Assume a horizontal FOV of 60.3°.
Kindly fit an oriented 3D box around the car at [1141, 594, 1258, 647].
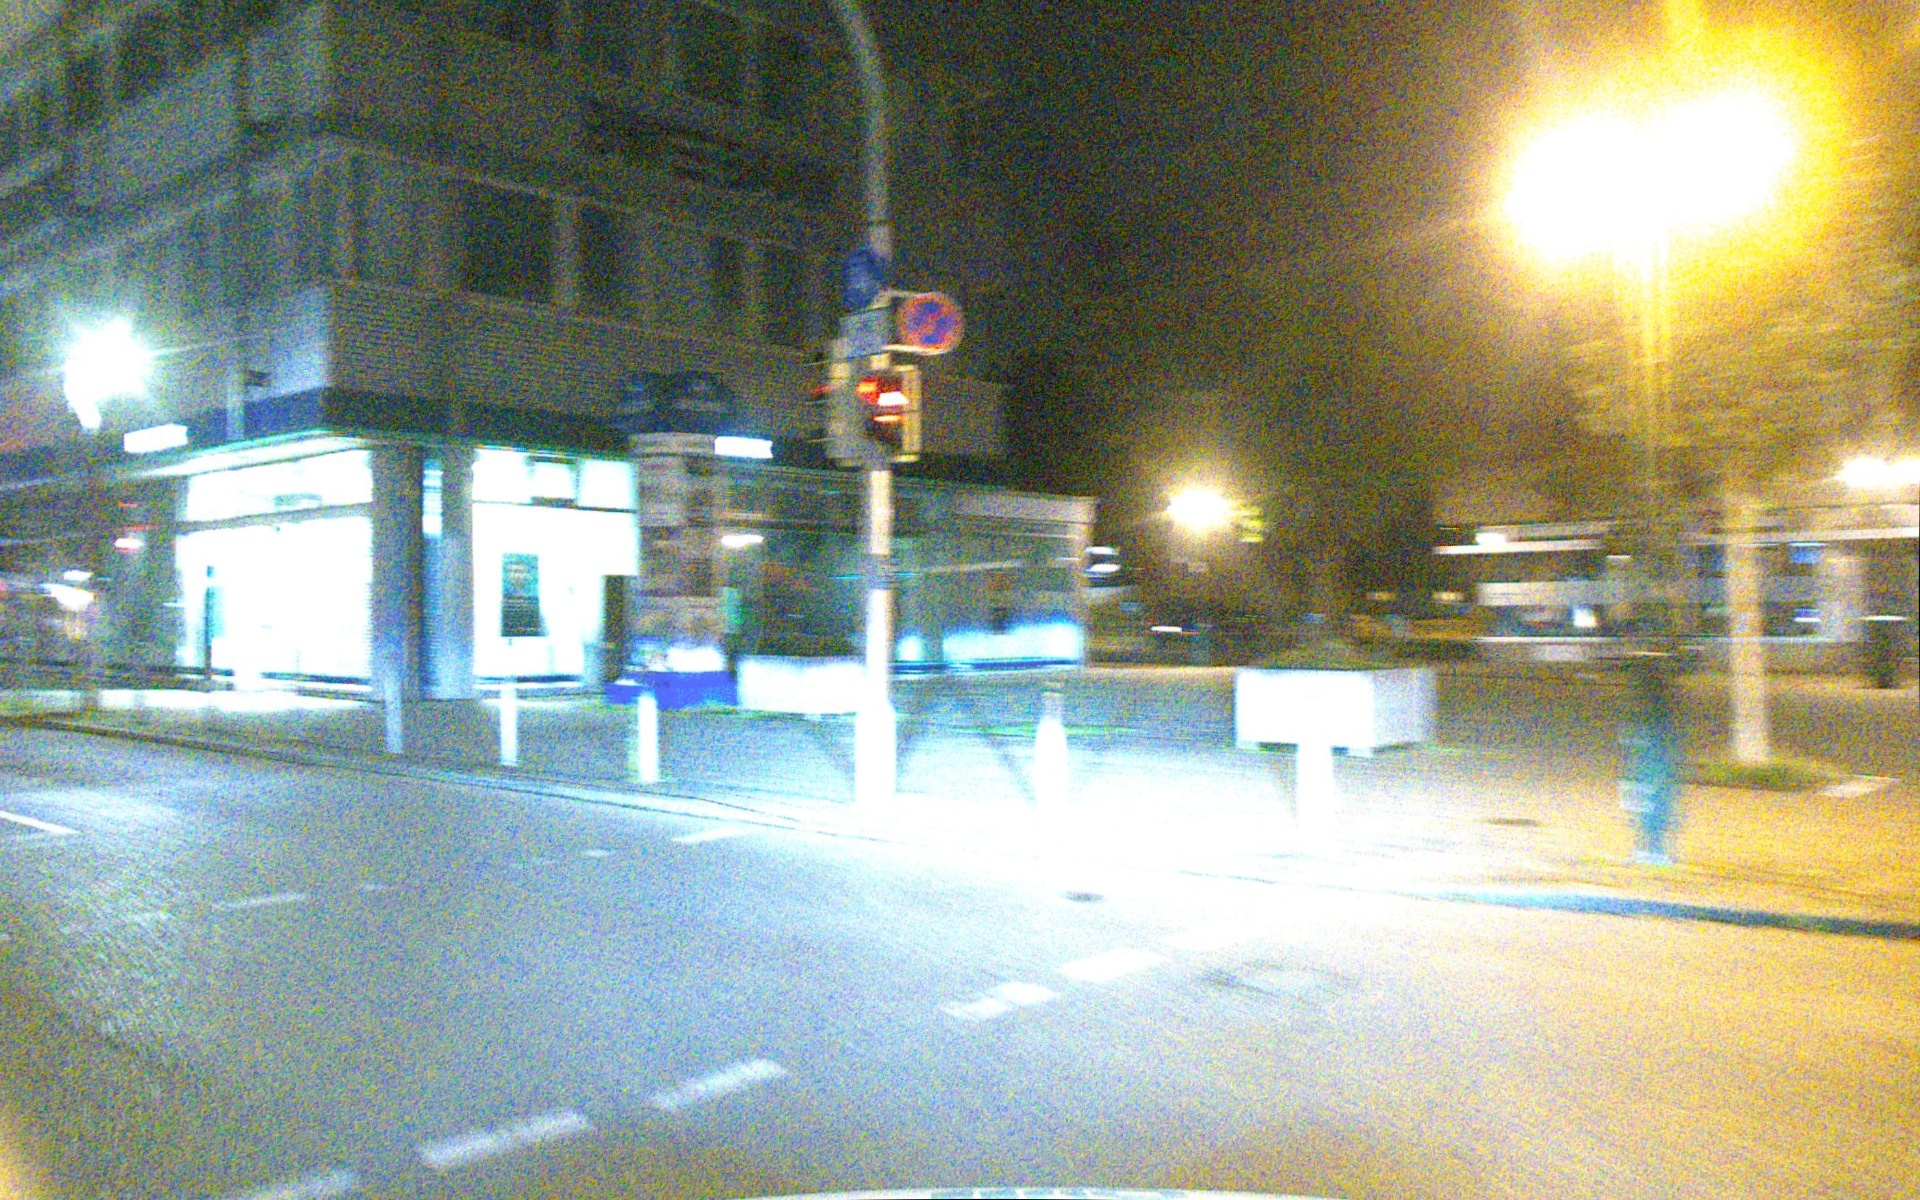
[{"bbox_3d":[7.450,0.604,51.214,1.887,1.476,3.982,1,1,38],"label":"car"}]
